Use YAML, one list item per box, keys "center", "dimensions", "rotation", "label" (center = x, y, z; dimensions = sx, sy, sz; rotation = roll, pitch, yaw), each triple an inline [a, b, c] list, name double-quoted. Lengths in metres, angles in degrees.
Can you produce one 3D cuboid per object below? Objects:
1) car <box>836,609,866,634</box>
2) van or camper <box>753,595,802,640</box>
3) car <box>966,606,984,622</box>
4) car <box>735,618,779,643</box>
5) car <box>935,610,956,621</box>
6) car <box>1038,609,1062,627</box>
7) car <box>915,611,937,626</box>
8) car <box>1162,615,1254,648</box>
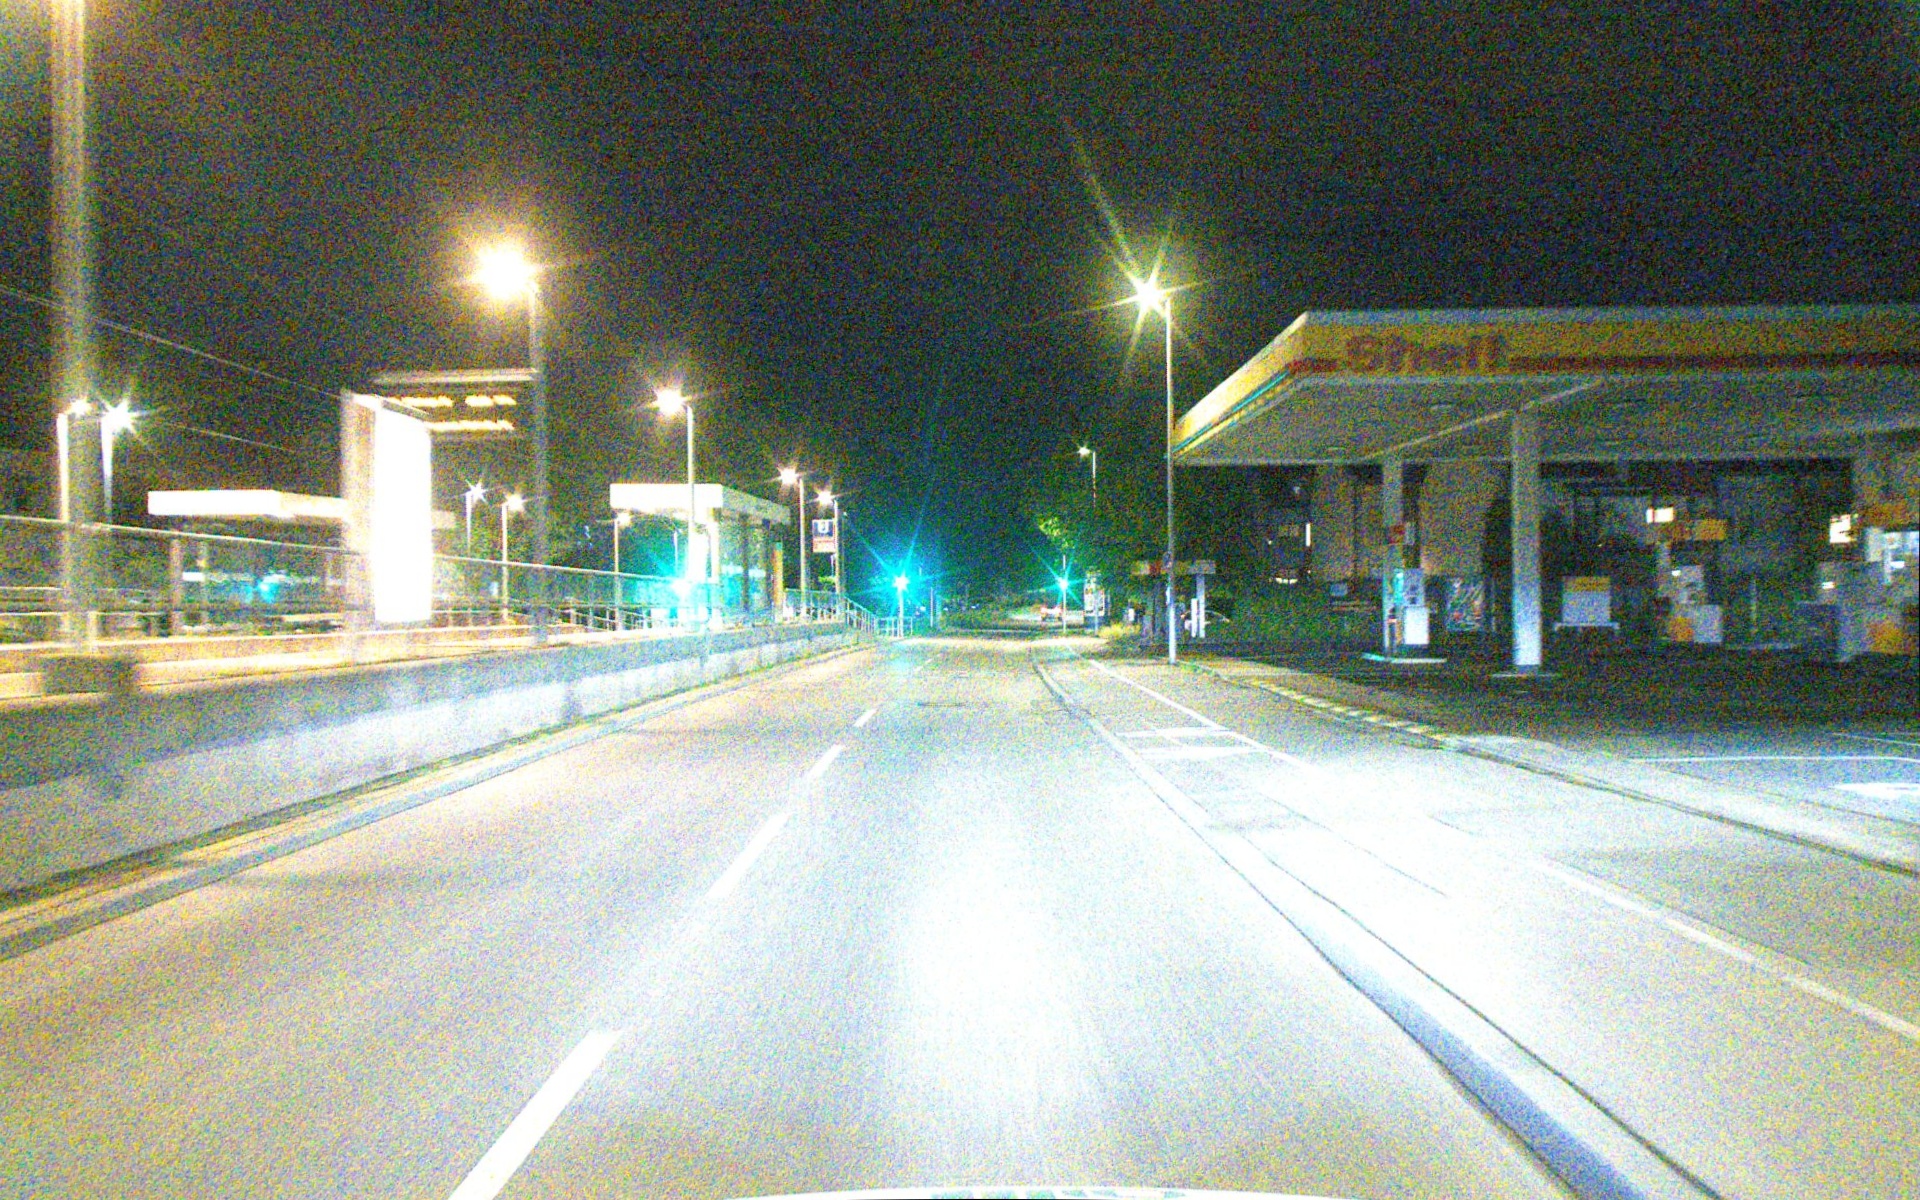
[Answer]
- center: [-8.706, 1.718, 132.407]
  dimensions: [1.818, 1.937, 4.882]
  rotation: [0, -1, 3]
  label: "car"
- center: [-11.578, 1.079, 105.478]
  dimensions: [2.225, 2.693, 5.665]
  rotation: [-2, 0, 2]
  label: "van or camper"
- center: [2.144, 1.989, 230.442]
  dimensions: [2.048, 2.048, 4.003]
  rotation: [-4, 0, 5]
  label: "car"
- center: [-12.144, 1.808, 99.060]
  dimensions: [1.611, 1.363, 4.545]
  rotation: [-4, -1, 5]
  label: "car"
- center: [-1.744, 1.883, 200.210]
  dimensions: [1.951, 1.362, 5.435]
  rotation: [0, 0, 5]
  label: "car"
- center: [8.153, 1.666, 150.210]
  dimensions: [2.116, 1.611, 4.014]
  rotation: [0, -1, 3]
  label: "car"
- center: [-3.701, 2.014, 180.468]
  dimensions: [1.951, 1.657, 4.680]
  rotation: [0, 0, 5]
  label: "car"
- center: [10.428, 1.317, 69.694]
  dimensions: [3.685, 1.378, 1.860]
  rotation: [0, 0, 3]
  label: "car"
